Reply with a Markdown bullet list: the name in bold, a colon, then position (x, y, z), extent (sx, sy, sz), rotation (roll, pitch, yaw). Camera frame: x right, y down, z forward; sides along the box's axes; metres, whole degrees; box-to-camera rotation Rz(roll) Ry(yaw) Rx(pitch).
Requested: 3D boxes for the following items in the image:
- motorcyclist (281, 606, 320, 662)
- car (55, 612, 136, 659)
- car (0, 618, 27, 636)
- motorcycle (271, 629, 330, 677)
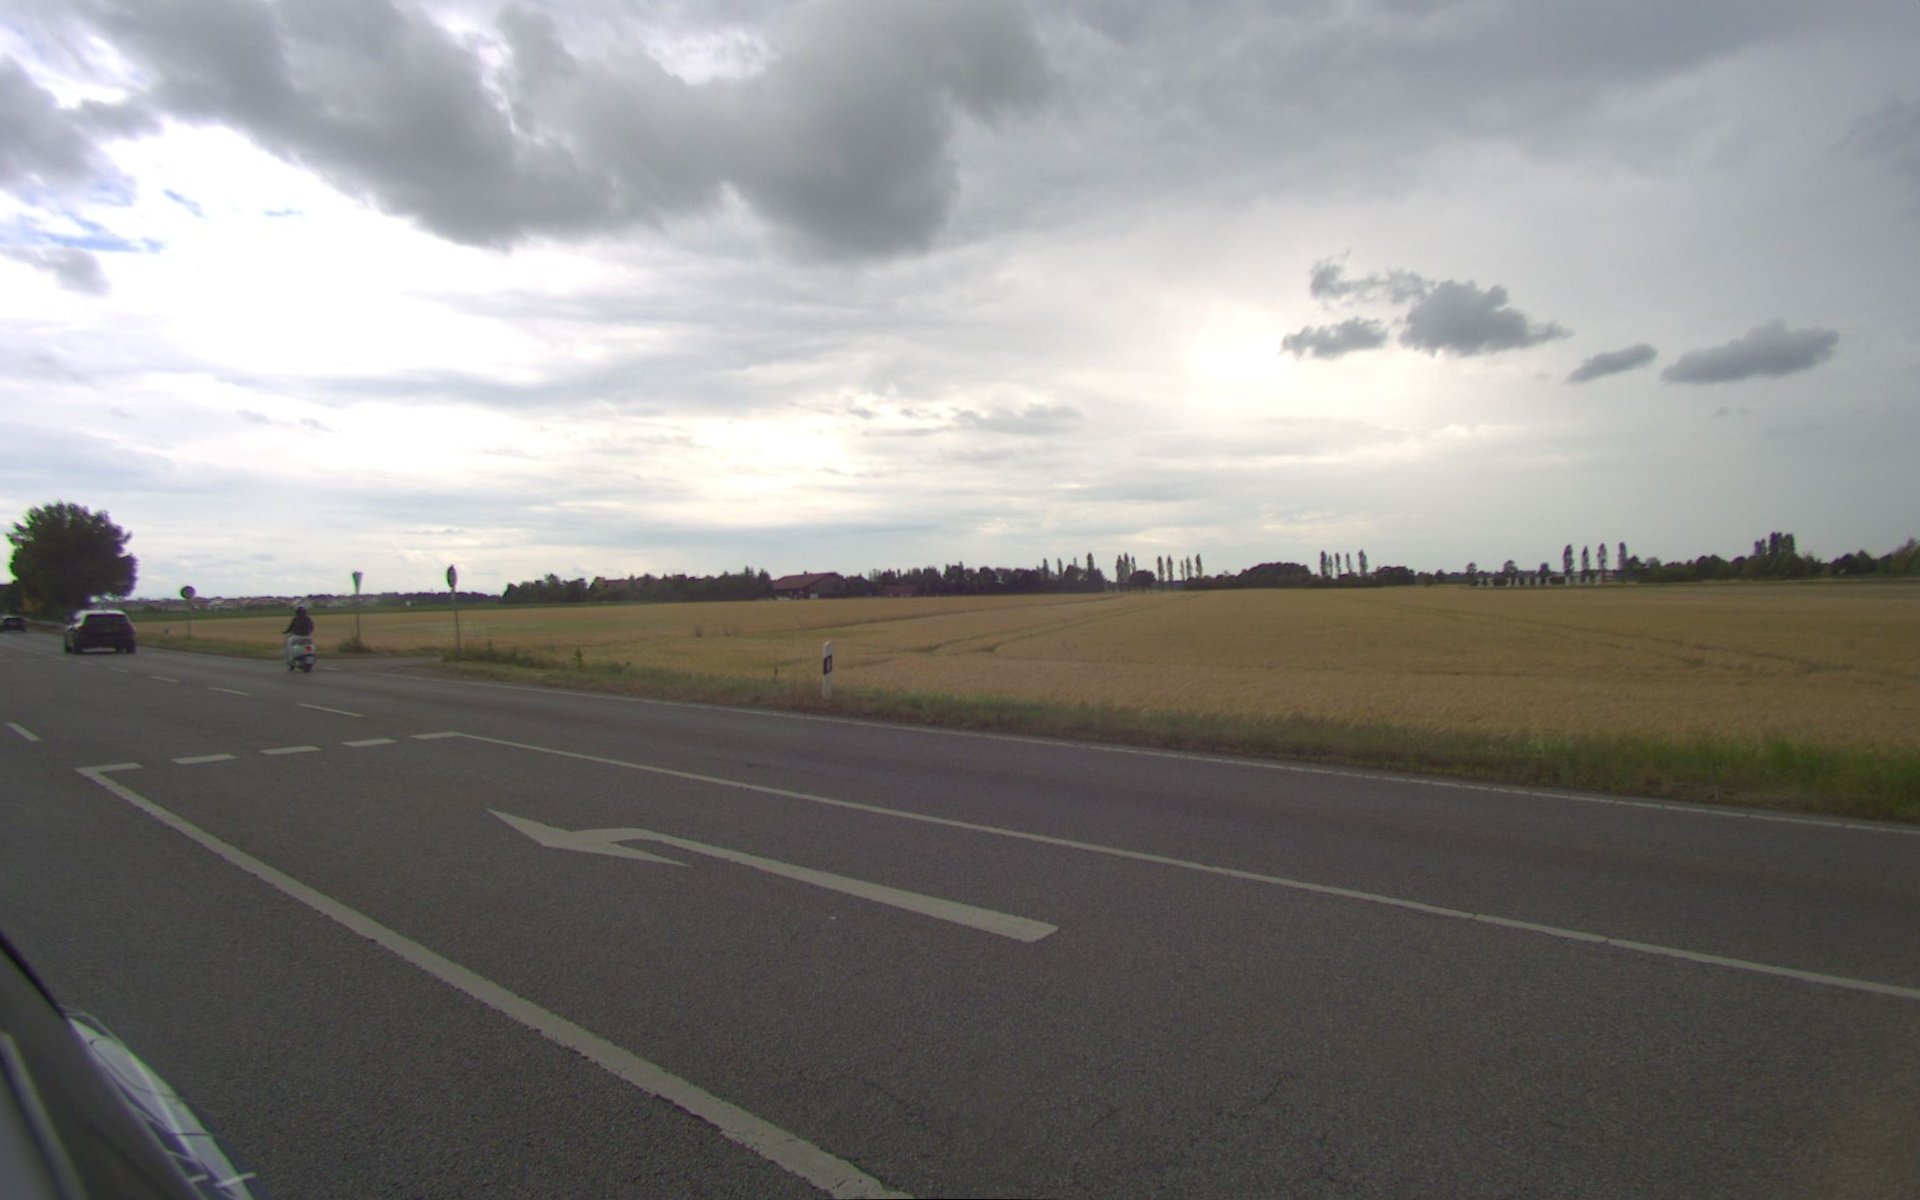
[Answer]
- **motorcyclist**: position (-16.768, 0.862, 25.738), extent (0.809, 1.394, 0.633), rotation (-1, -1, 40)
- **car**: position (-34.018, 1.347, 39.789), extent (4.447, 1.707, 1.926), rotation (-1, -1, 43)
- **car**: position (-82.025, 2.323, 87.500), extent (1.969, 1.521, 4.004), rotation (1, -2, -42)
- **motorcycle**: position (-16.829, 1.325, 25.799), extent (2.023, 1.157, 0.718), rotation (-1, -1, 40)
